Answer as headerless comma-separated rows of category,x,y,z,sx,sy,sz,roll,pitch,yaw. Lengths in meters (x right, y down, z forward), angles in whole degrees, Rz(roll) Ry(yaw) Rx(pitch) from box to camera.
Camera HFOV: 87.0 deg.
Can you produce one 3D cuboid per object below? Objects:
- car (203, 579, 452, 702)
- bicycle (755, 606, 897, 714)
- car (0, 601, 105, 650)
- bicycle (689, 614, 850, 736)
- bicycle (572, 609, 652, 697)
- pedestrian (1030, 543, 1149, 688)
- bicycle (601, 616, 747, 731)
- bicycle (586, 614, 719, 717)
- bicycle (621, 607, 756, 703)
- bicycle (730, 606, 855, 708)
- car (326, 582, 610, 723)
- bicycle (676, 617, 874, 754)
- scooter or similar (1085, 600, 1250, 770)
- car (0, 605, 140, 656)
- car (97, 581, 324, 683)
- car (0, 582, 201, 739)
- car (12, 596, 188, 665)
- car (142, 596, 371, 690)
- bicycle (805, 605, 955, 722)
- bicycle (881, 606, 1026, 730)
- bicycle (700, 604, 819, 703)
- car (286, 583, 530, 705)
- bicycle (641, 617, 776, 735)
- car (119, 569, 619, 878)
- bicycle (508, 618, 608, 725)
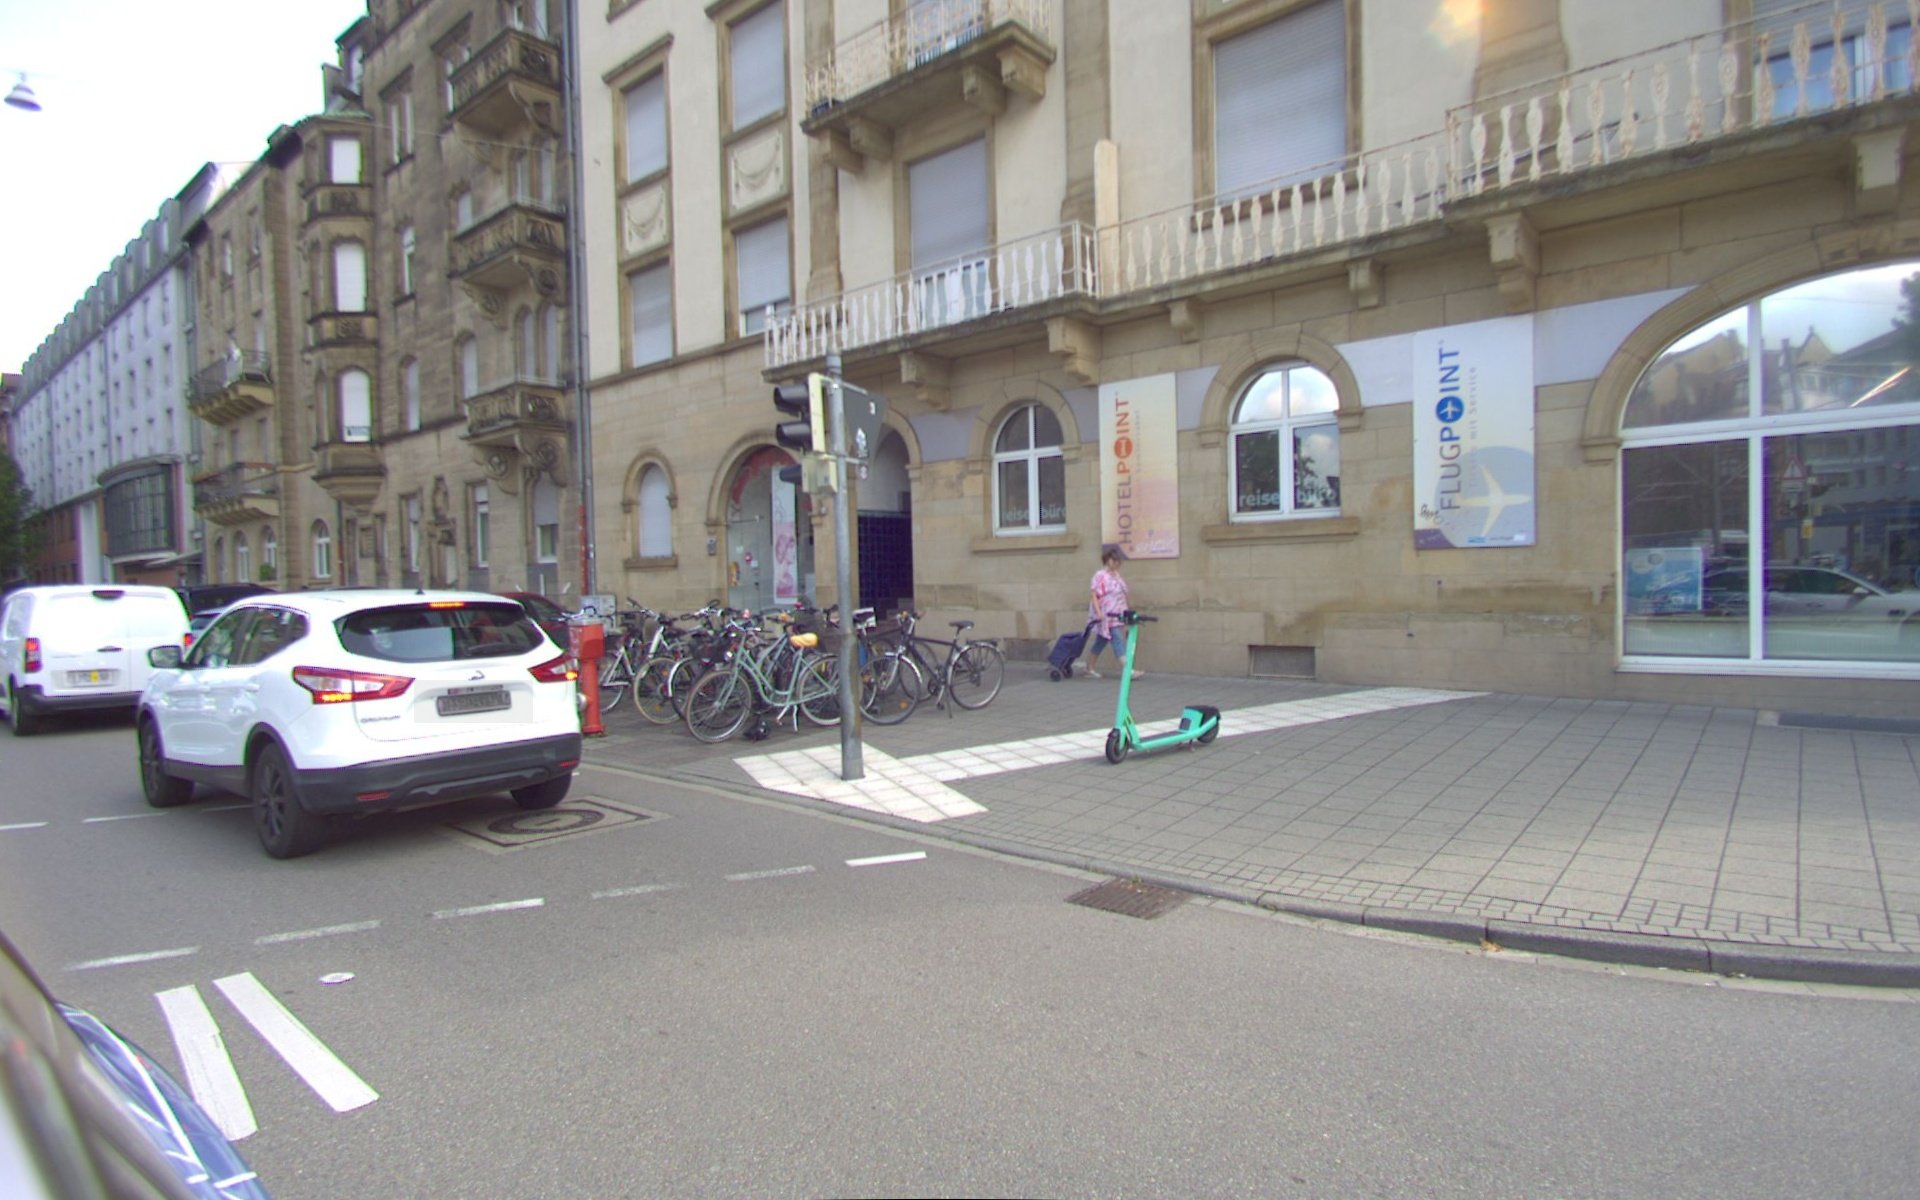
car,-11.008,0.610,17.998,1.778,1.701,3.954,-4,3,1
bicycle,-1.511,0.654,11.617,1.558,1.059,0.481,-5,3,-42
car,-35.019,0.977,38.388,1.708,1.597,3.953,-4,2,1
bicycle,-1.944,0.736,10.473,1.558,1.059,0.481,-5,3,-42
bicycle,-4.928,0.720,14.443,0.549,1.059,1.907,-3,2,-4
pedestrian,1.563,0.161,12.194,0.996,1.606,0.932,-1,4,42
bicycle,-3.088,0.767,11.042,0.462,1.059,1.464,-1,3,41
bicycle,-3.618,0.742,11.994,0.462,1.060,1.466,-2,2,38
bicycle,-3.496,0.684,13.140,0.557,1.059,1.611,-1,3,39
bicycle,-1.989,0.652,12.142,0.462,1.059,1.464,-1,3,42
car,-6.600,0.596,14.138,1.788,1.467,3.997,-3,3,3
bicycle,-1.713,0.757,9.514,1.708,1.059,0.532,-5,3,-33
scooter or similar,1.634,0.625,7.914,1.232,1.154,0.482,-4,3,-31
car,-29.933,0.979,33.868,1.708,1.485,3.953,-2,1,1
car,-16.343,0.610,22.362,1.710,1.881,3.947,-3,2,7
car,-11.932,0.739,13.647,4.280,1.789,1.794,-2,-1,40
car,-25.568,0.848,30.280,1.708,1.597,3.954,-4,3,1
car,-14.158,0.787,20.675,1.708,1.439,3.952,-4,3,3
bicycle,-0.832,0.641,10.860,1.589,1.059,0.481,-5,3,-42
bicycle,-0.045,0.640,10.095,1.421,1.059,0.481,-5,3,-40
bicycle,-2.464,0.632,12.570,0.462,1.059,1.466,-2,3,38
car,-8.707,0.592,16.392,1.707,1.467,3.956,-4,3,0
bicycle,-2.651,0.771,10.764,0.417,1.059,1.355,-2,3,39
car,-4.344,0.682,7.193,4.015,1.594,1.753,-2,-1,39
bicycle,-4.762,0.810,12.106,0.549,1.059,1.815,-3,2,-5
